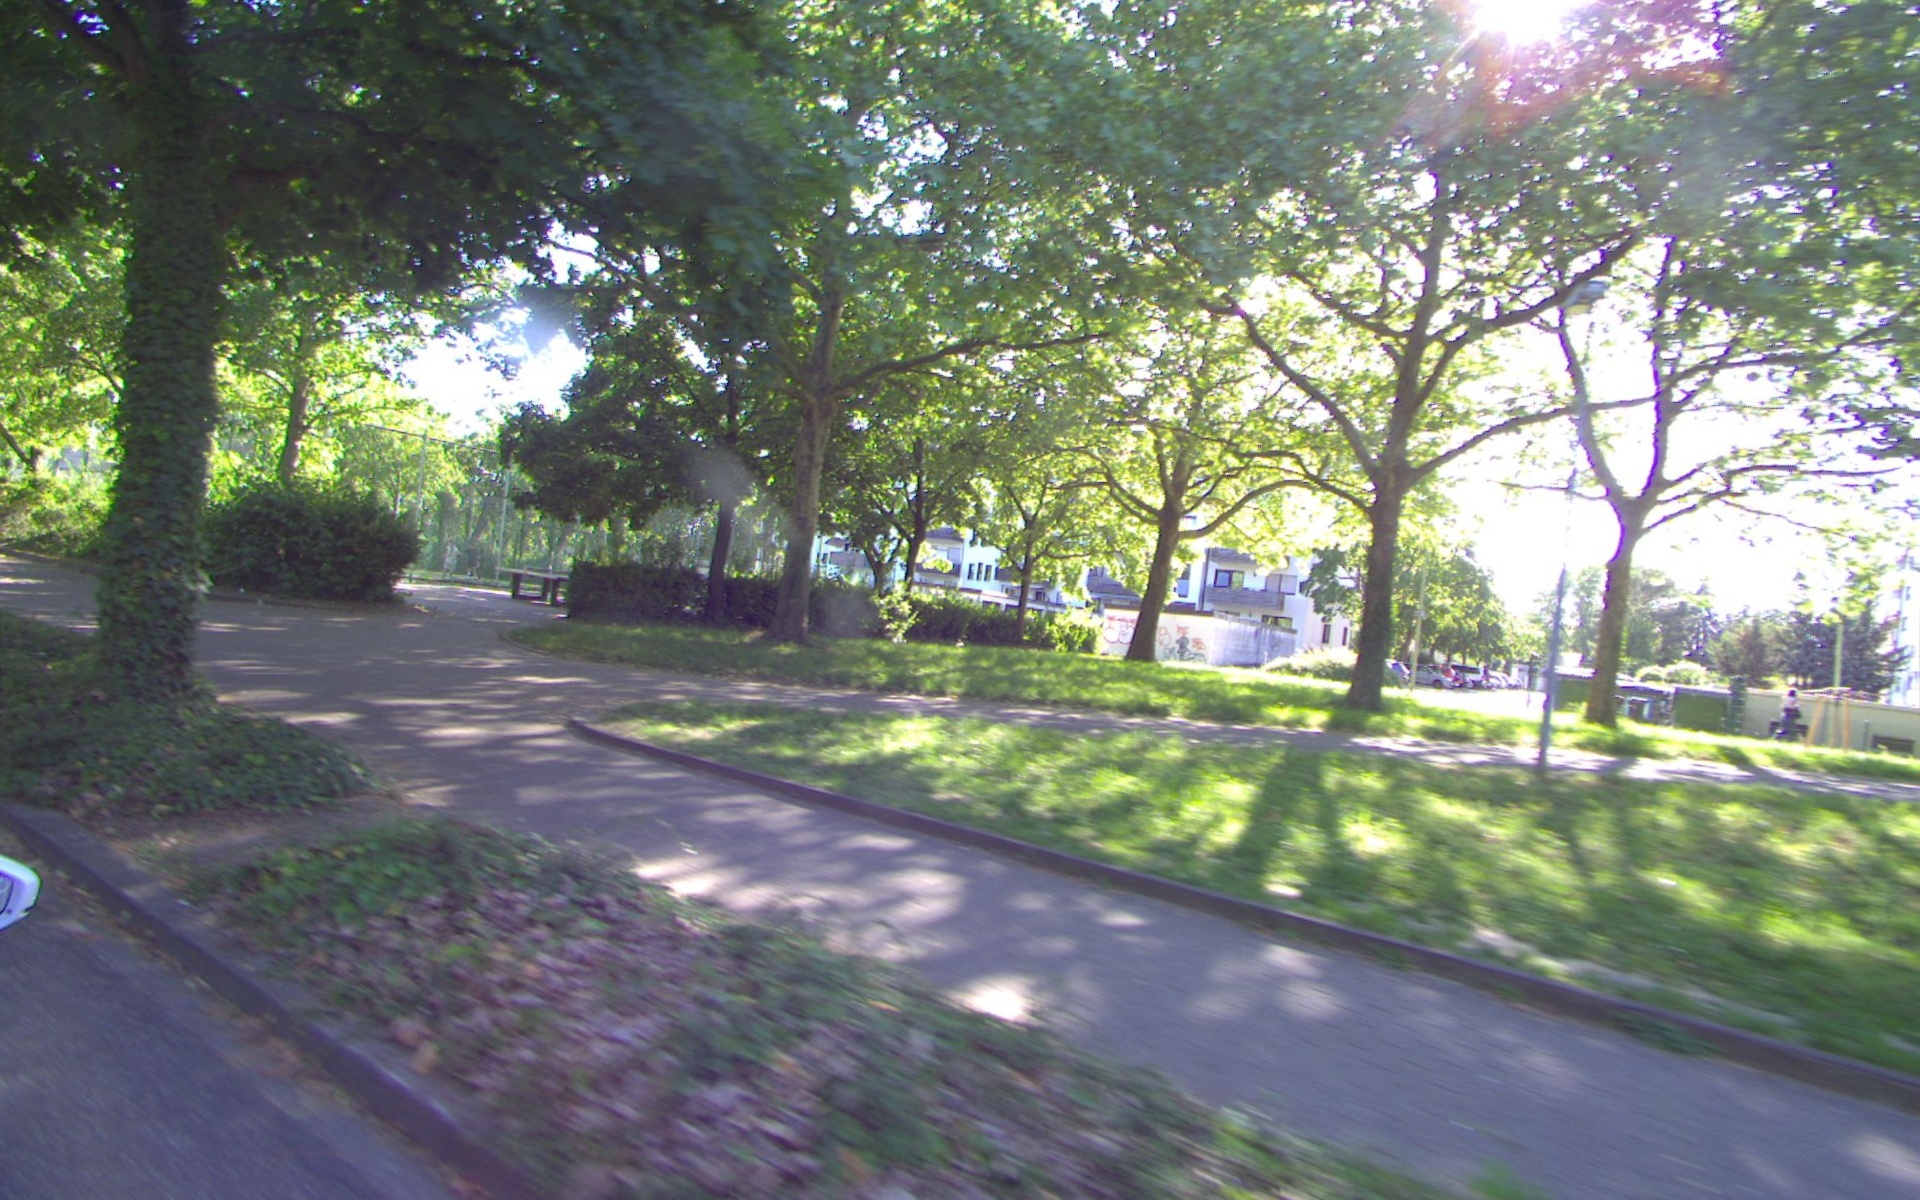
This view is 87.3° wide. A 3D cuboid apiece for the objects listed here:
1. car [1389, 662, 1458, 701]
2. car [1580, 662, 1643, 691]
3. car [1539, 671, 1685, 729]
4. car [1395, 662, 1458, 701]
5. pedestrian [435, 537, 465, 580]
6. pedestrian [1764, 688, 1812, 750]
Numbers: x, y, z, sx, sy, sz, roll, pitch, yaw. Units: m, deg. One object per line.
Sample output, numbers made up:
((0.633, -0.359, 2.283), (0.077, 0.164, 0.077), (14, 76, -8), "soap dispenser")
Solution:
((31.747, 5.573, 68.891), (3.933, 2.036, 1.998), (6, -2, 31), "car")
((50.362, 5.895, 77.782), (3.938, 1.641, 1.996), (6, -3, 36), "car")
((21.132, 3.237, 32.770), (3.794, 1.308, 1.541), (6, -2, 32), "car")
((34.902, 6.104, 75.297), (3.933, 2.318, 1.998), (6, -2, 31), "car")
((-15.477, -1.249, 30.512), (0.555, 1.185, 0.493), (8, -1, -12), "pedestrian")
((23.212, 3.321, 28.222), (0.668, 1.606, 0.627), (7, -1, 3), "pedestrian")
